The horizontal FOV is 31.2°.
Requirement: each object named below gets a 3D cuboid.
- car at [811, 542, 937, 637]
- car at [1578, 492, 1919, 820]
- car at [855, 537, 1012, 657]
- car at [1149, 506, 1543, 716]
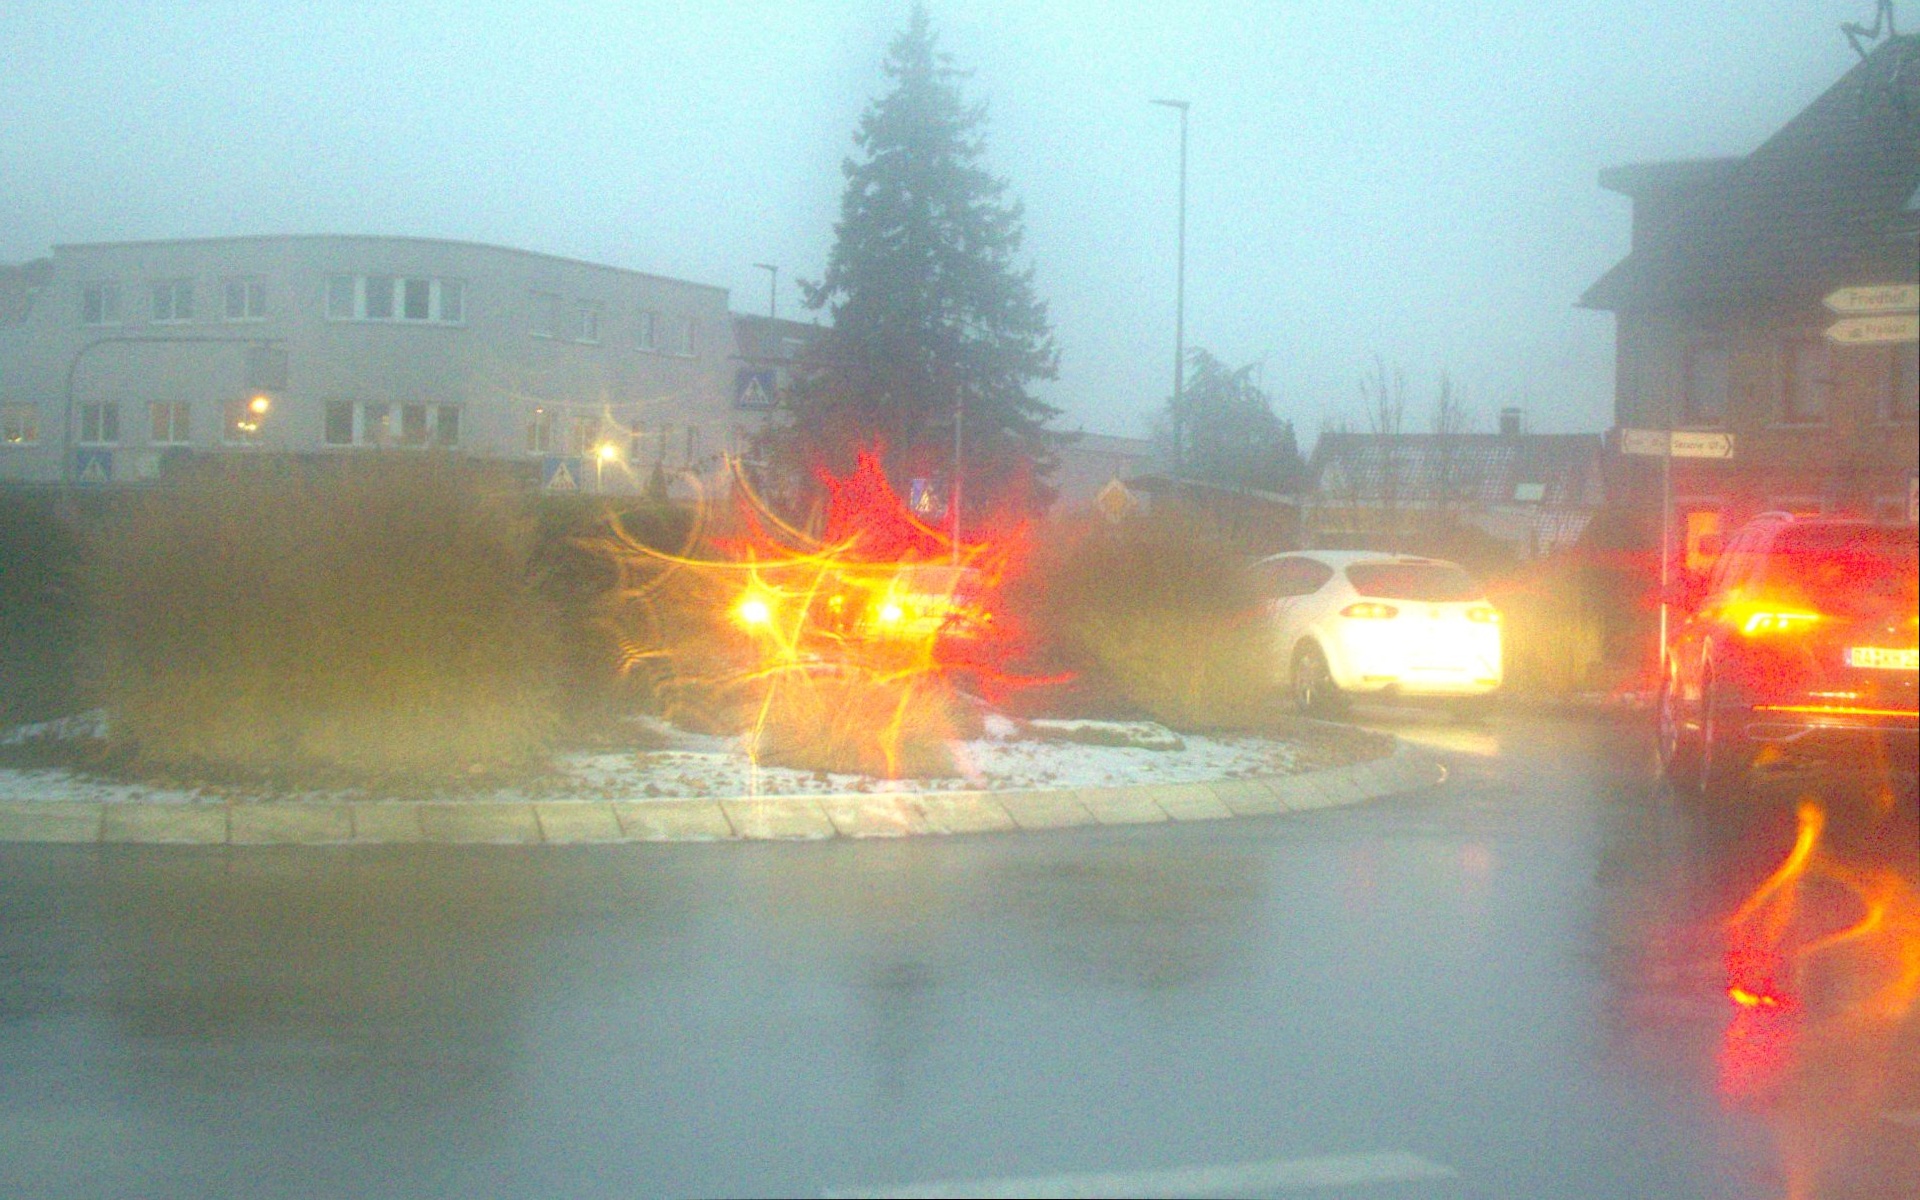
[{"bbox_3d":[-1.506,-0.145,58.749,1.882,1.543,4.572,1,-1,-5],"label":"car"},{"bbox_3d":[4.915,0.273,20.318,1.944,1.712,4.000,2,1,3],"label":"car"},{"bbox_3d":[-0.430,-0.015,48.957,1.882,1.609,4.572,1,-1,-5],"label":"car"},{"bbox_3d":[3.375,0.042,31.080,2.163,1.683,4.573,0,2,-12],"label":"car"}]
